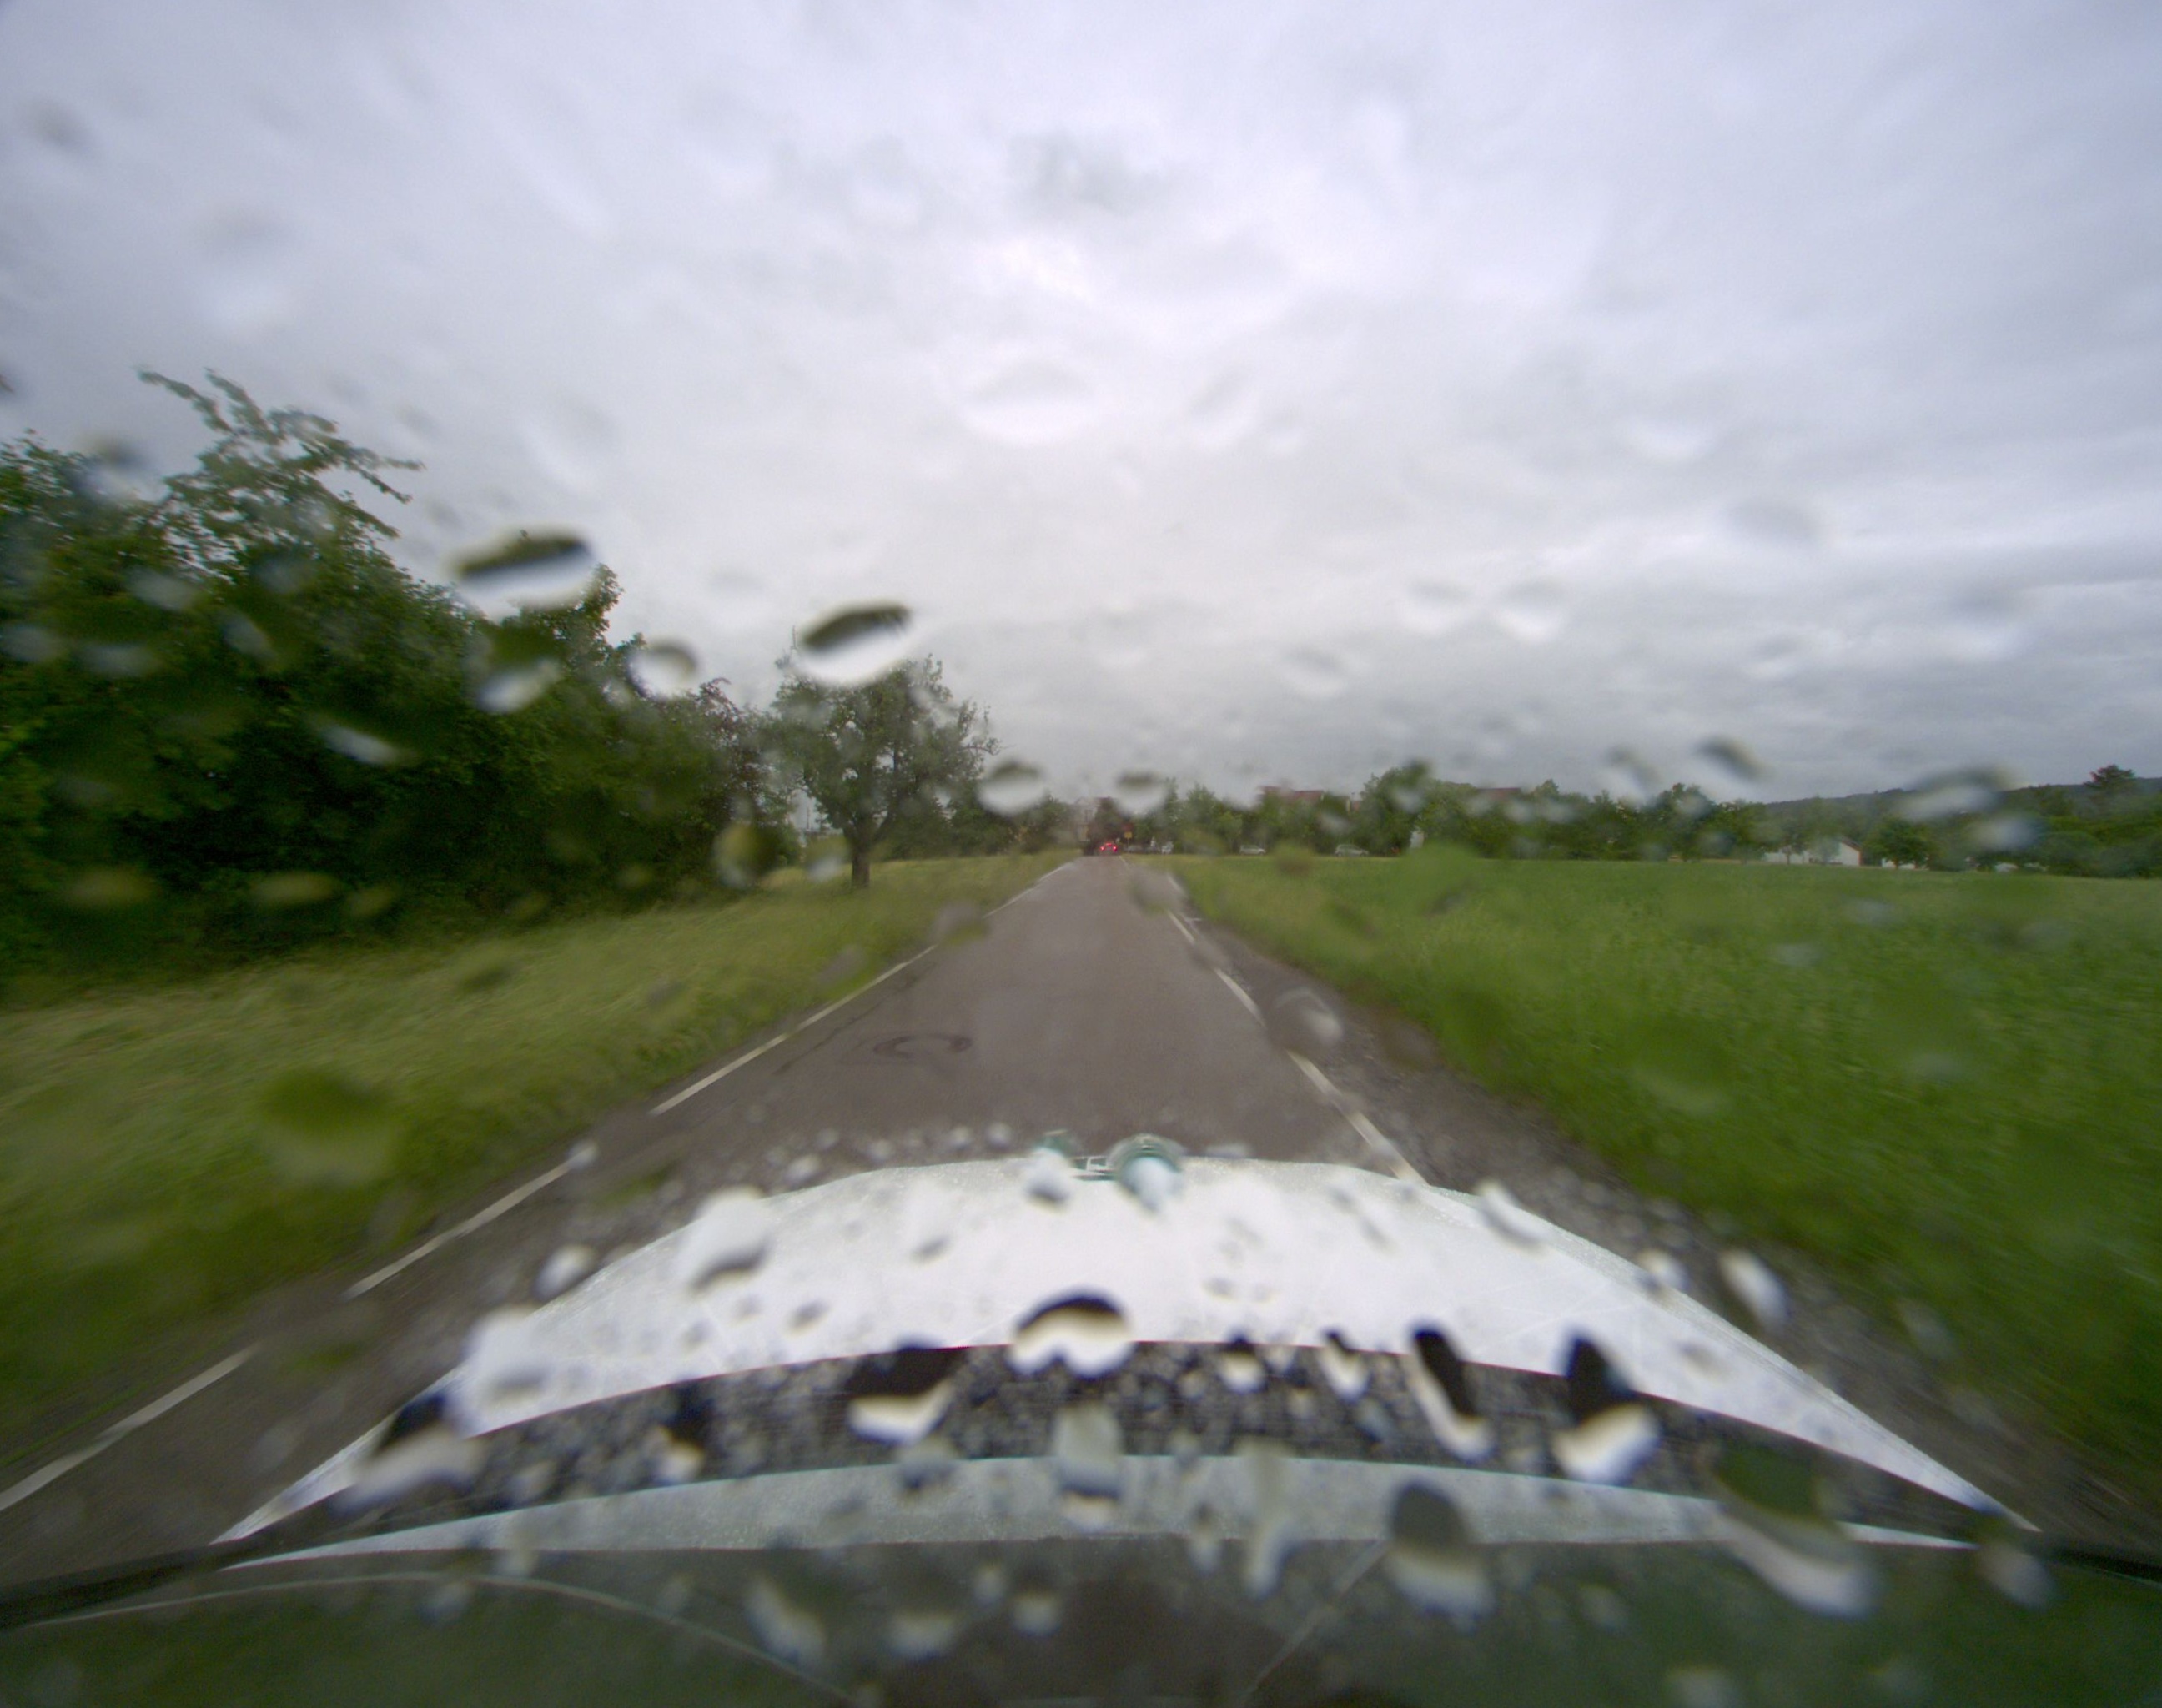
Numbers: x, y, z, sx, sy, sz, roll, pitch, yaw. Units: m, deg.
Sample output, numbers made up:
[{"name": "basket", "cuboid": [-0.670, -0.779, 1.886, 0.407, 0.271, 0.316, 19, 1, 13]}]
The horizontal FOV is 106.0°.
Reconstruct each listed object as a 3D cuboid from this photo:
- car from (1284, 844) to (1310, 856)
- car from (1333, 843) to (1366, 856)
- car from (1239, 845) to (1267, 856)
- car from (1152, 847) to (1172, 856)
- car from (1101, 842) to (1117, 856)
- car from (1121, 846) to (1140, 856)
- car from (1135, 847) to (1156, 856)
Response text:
[{"name": "car", "cuboid": [27.108, -0.496, 102.368, 3.169, 1.370, 1.578, 0, 0, 15]}, {"name": "car", "cuboid": [33.144, -0.523, 100.586, 3.682, 1.564, 1.617, 0, 0, 14]}, {"name": "car", "cuboid": [21.933, -0.488, 103.848, 3.365, 1.370, 1.554, 0, 0, 15]}, {"name": "car", "cuboid": [14.112, -0.430, 141.850, 1.645, 1.546, 4.025, 0, 0, 37]}, {"name": "car", "cuboid": [3.360, -0.594, 95.869, 1.807, 1.594, 4.003, 0, 0, 3]}, {"name": "car", "cuboid": [8.136, -0.474, 133.215, 1.645, 1.546, 4.023, 0, 0, 26]}, {"name": "car", "cuboid": [10.856, -0.451, 137.719, 1.645, 1.546, 4.025, 0, 0, 37]}]
